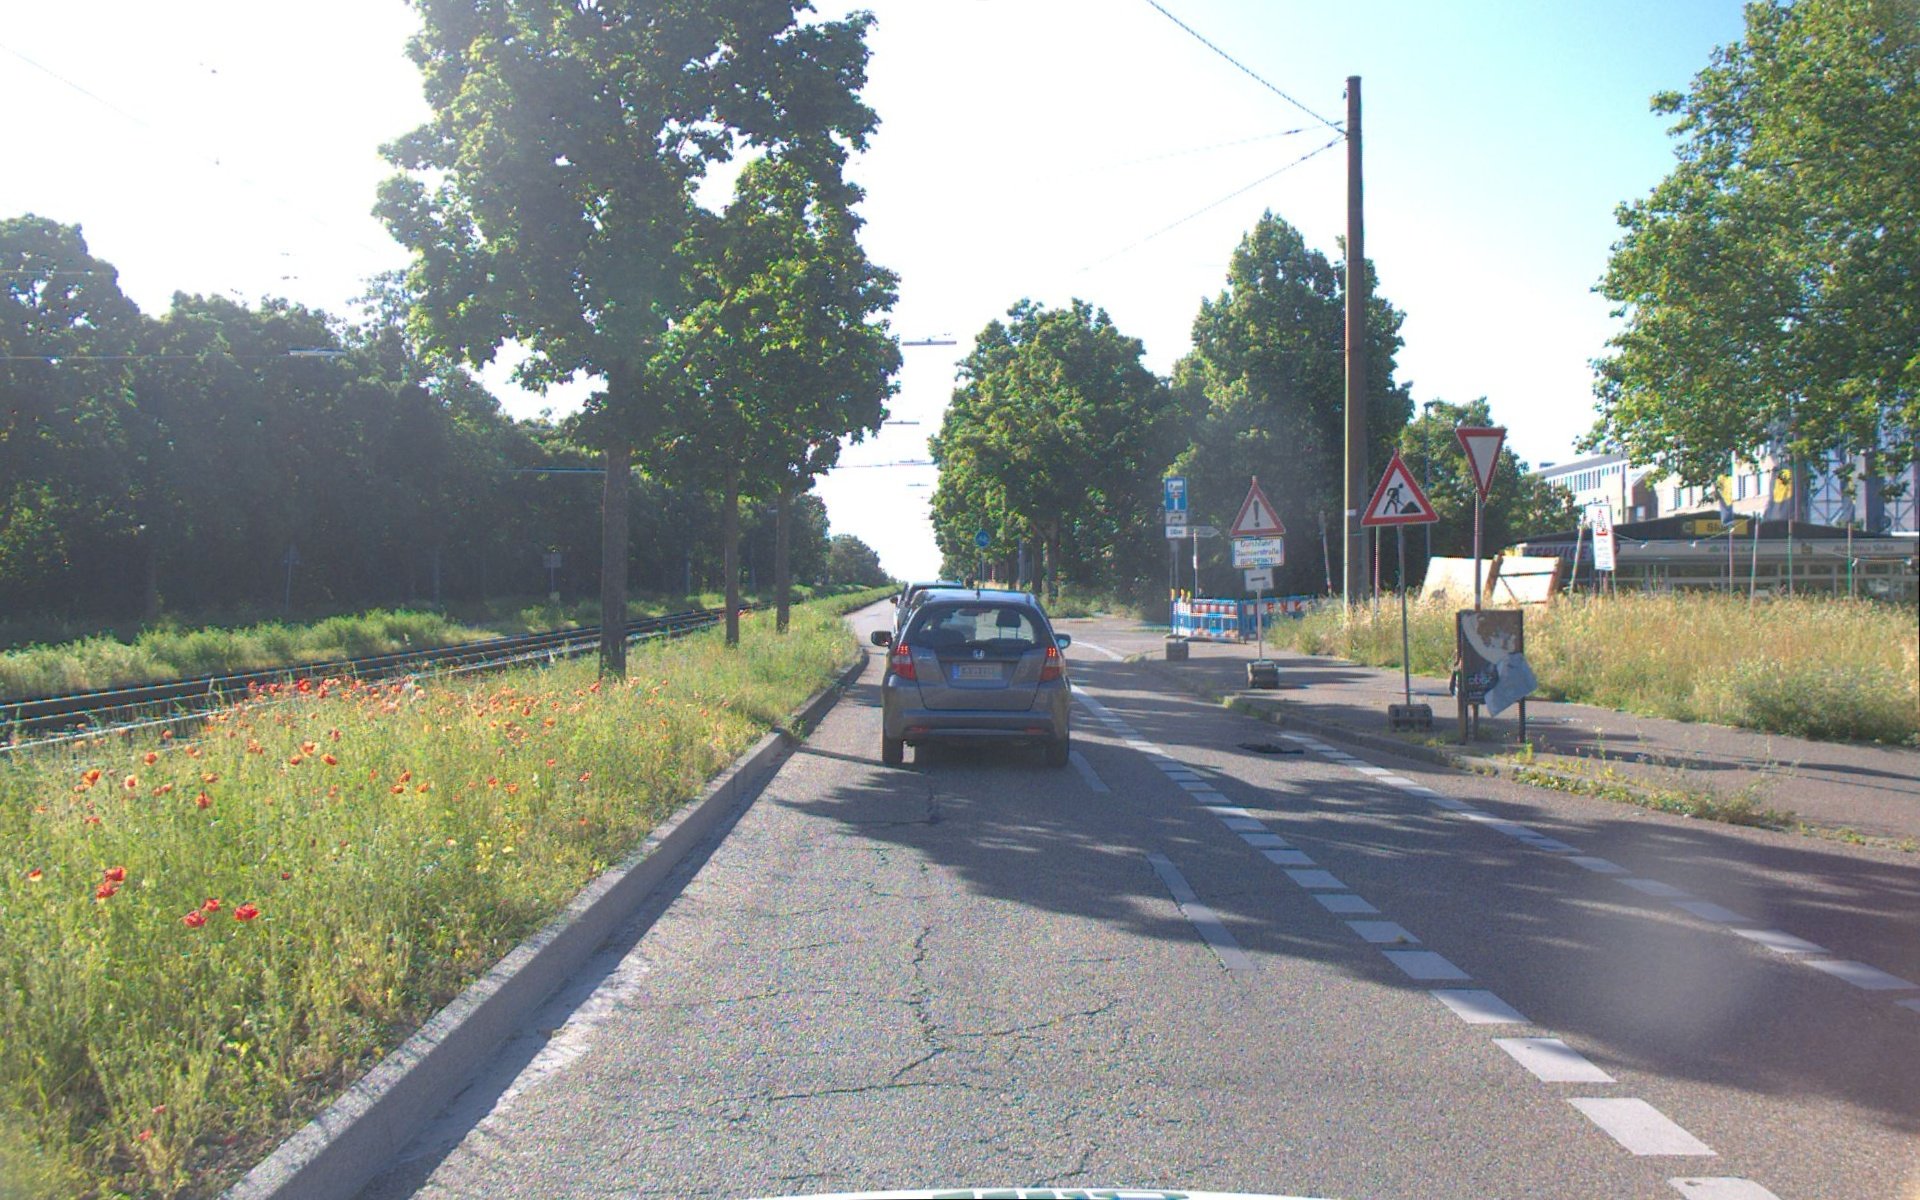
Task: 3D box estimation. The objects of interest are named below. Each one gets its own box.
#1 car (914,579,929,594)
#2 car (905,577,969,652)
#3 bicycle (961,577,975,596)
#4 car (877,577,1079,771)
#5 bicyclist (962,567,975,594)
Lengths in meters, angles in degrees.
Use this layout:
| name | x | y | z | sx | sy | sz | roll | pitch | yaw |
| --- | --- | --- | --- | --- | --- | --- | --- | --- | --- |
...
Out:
| name | x | y | z | sx | sy | sz | roll | pitch | yaw |
| --- | --- | --- | --- | --- | --- | --- | --- | --- | --- |
| car | -5.691 | -1.943 | 245.377 | 1.953 | 2.049 | 4.000 | -3 | 0 | 0 |
| car | -0.476 | 0.309 | 36.054 | 1.323 | 1.554 | 3.123 | -1 | -1 | 0 |
| bicycle | 0.496 | -0.809 | 97.914 | 0.801 | 1.066 | 2.506 | 0 | -1 | 0 |
| car | 0.098 | 0.592 | 15.531 | 1.637 | 1.541 | 3.673 | 1 | 1 | -2 |
| bicyclist | 0.508 | -1.173 | 97.940 | 0.801 | 1.551 | 0.966 | 0 | -1 | 0 |
